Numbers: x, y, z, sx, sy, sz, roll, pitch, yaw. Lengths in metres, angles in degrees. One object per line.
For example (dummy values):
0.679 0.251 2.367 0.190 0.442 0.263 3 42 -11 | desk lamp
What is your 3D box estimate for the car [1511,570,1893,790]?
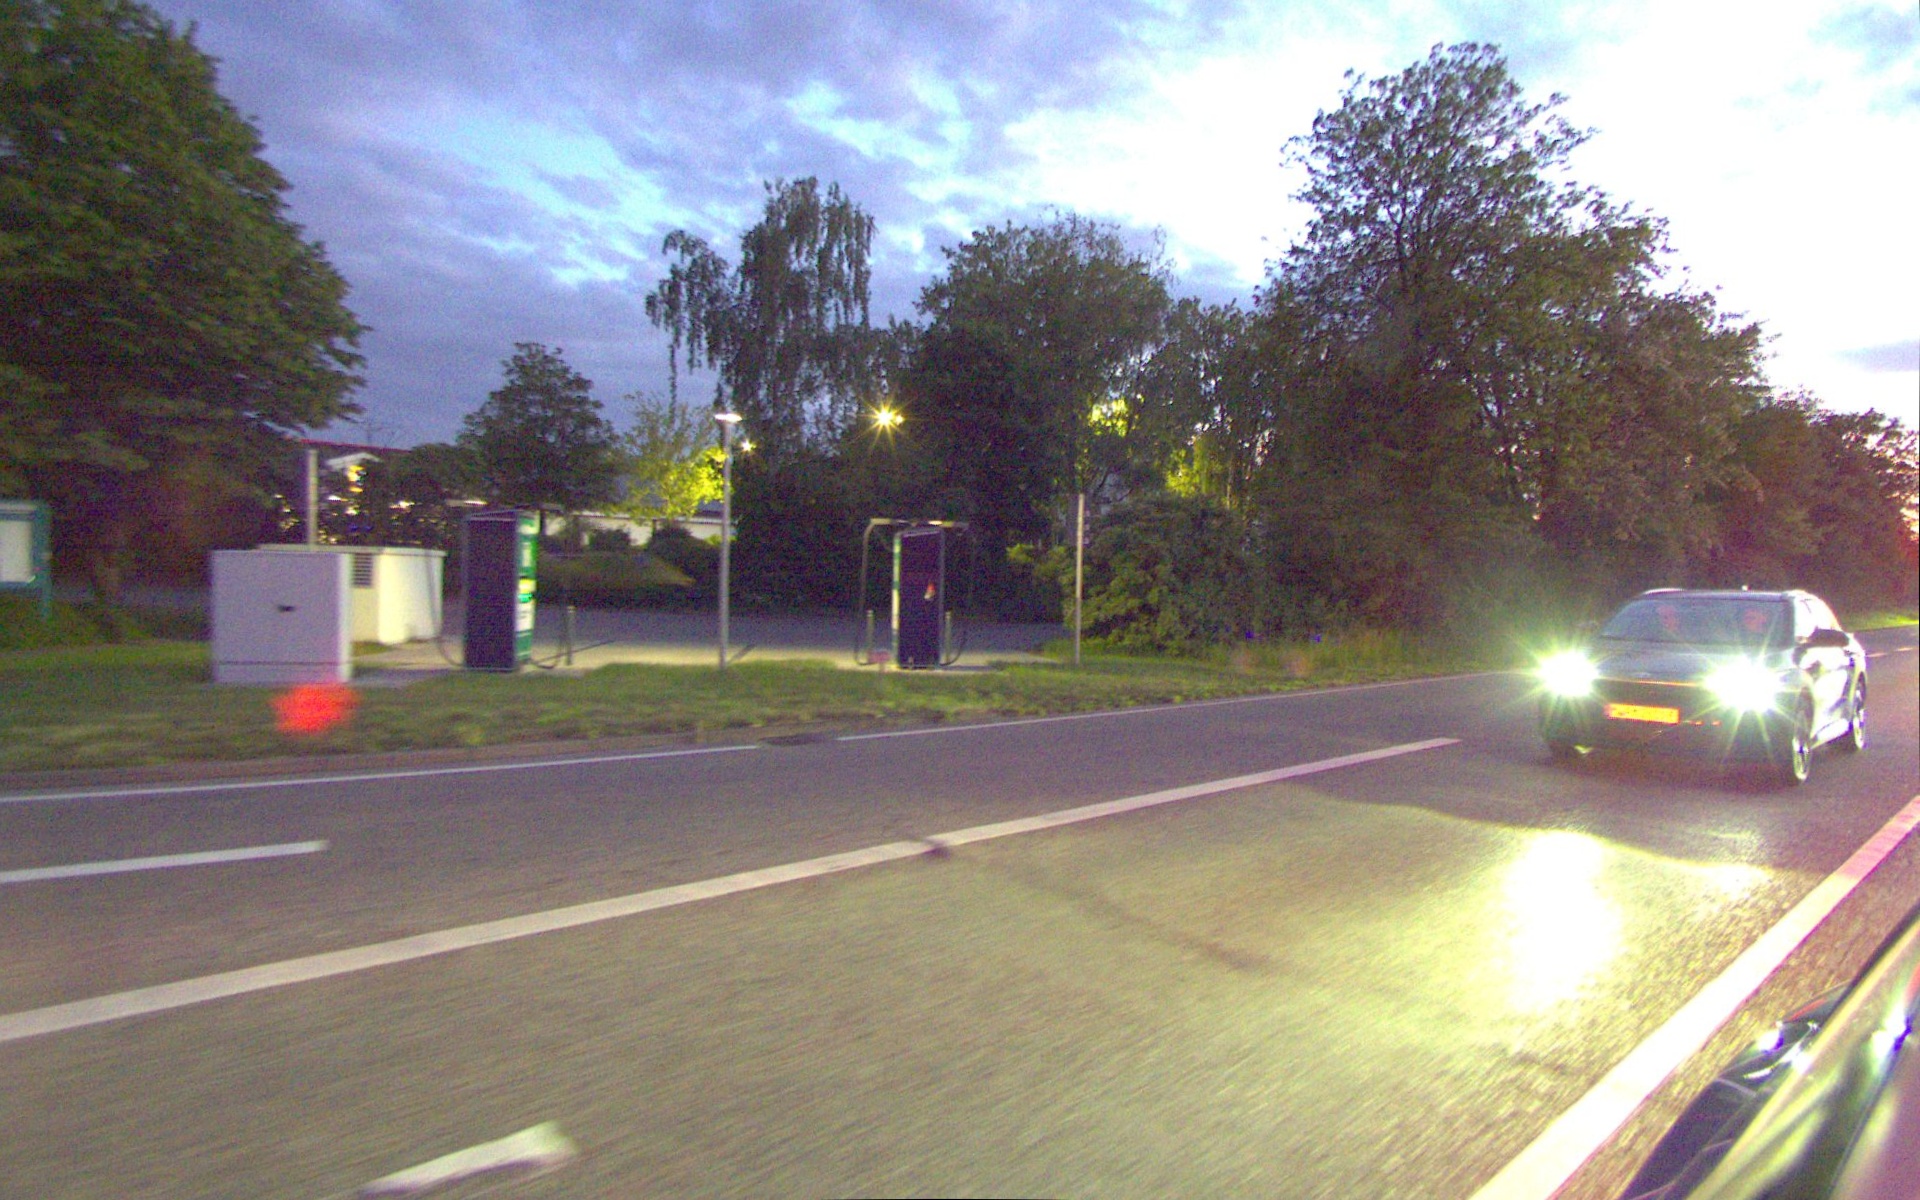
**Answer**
7.311 0.583 9.779 4.629 1.630 1.997 0 1 -41 | car
